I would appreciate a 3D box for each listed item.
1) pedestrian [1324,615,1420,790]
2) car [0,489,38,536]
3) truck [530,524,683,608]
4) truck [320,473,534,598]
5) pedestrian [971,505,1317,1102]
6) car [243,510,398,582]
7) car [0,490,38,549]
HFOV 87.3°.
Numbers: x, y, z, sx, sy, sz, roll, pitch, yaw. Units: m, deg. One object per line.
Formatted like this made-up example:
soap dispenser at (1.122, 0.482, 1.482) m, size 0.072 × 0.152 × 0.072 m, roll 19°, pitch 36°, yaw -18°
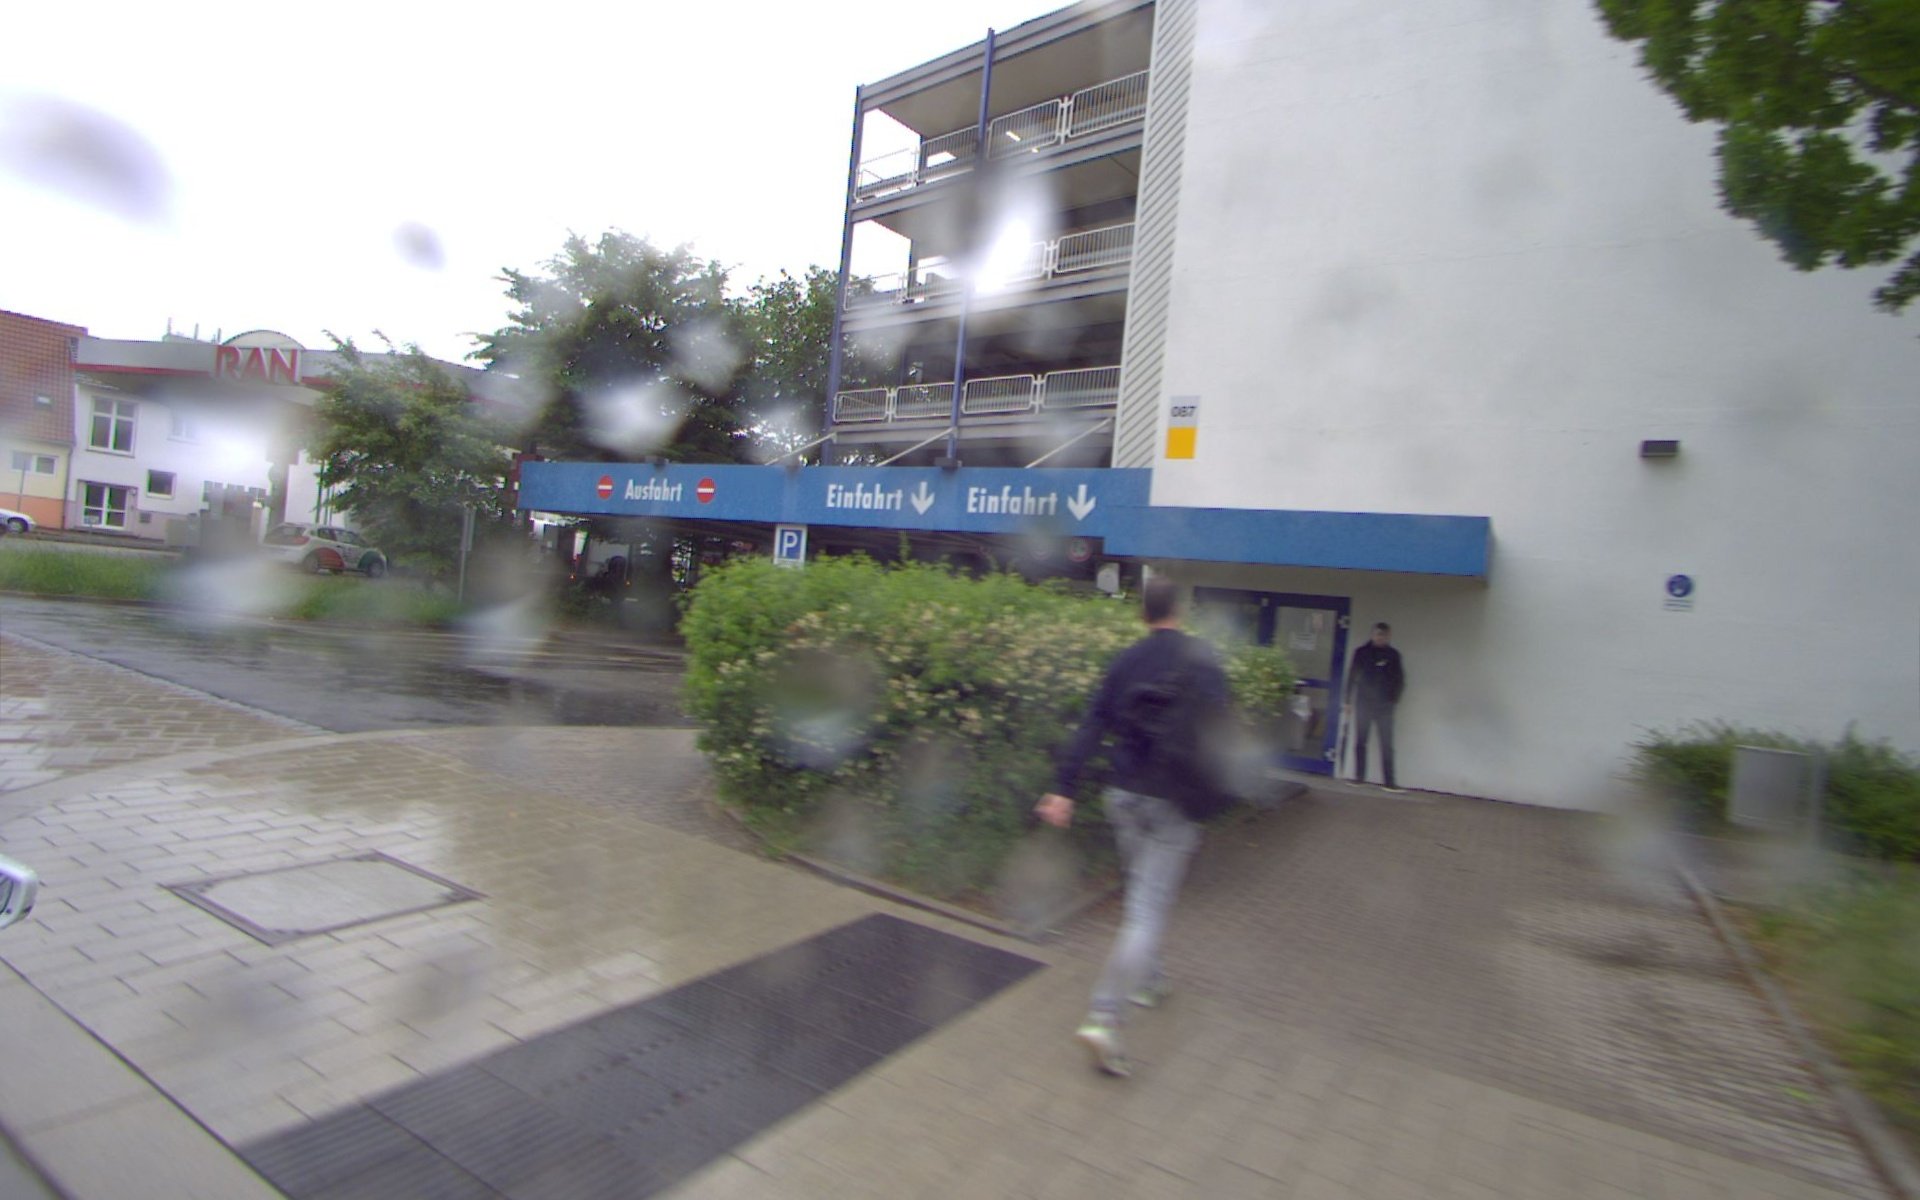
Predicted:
pedestrian at (4.699, 1.152, 11.466) m, size 0.759 × 1.858 × 0.570 m, roll 6°, pitch 0°, yaw 29°
car at (-37.493, -3.568, 37.701) m, size 1.927 × 1.571 × 3.990 m, roll 3°, pitch -6°, yaw 39°
truck at (-10.706, -1.034, 30.489) m, size 3.929 × 2.034 × 2.002 m, roll 5°, pitch -5°, yaw 26°
truck at (-21.131, -2.401, 40.554) m, size 2.629 × 3.479 × 7.765 m, roll 6°, pitch -5°, yaw 16°
pedestrian at (0.706, 0.629, 3.617) m, size 0.759 × 1.745 × 1.015 m, roll 6°, pitch 0°, yaw 29°
car at (-19.206, -1.567, 30.412) m, size 1.917 × 1.573 × 3.533 m, roll 6°, pitch -3°, yaw 12°
car at (-30.087, -2.619, 30.061) m, size 3.926 × 1.568 × 2.004 m, roll 5°, pitch -5°, yaw 20°
